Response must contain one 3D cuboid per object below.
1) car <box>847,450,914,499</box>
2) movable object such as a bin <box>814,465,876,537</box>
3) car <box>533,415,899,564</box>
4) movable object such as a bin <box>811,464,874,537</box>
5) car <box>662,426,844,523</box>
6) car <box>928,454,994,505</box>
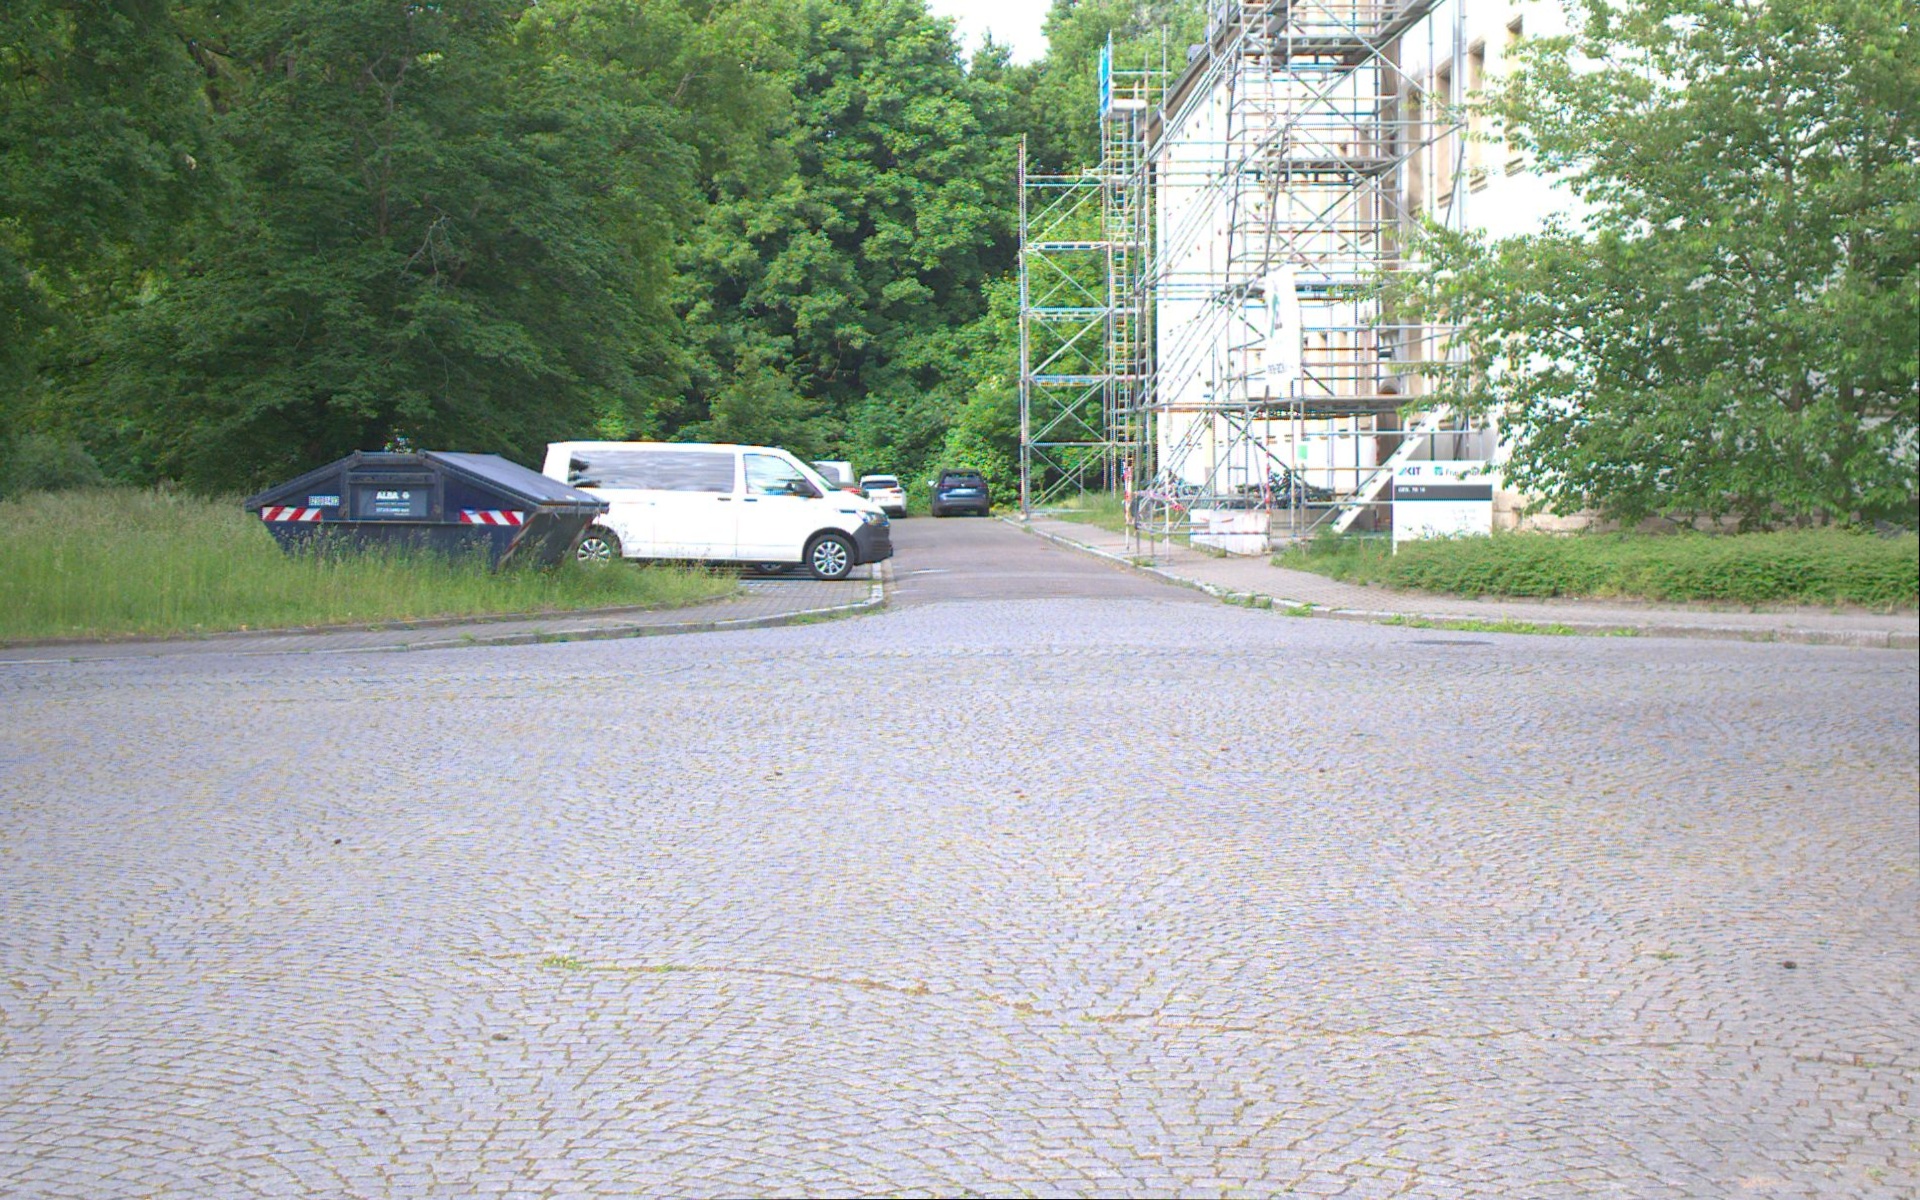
[{"bbox_3d":[-2.712,-4.222,116.324,2.001,1.542,3.959,2,1,-4],"label":"car"},{"bbox_3d":[-2.340,-2.021,70.102,1.183,1.402,0.975,2,1,-1],"label":"movable object such as a bin"},{"bbox_3d":[-3.531,-1.607,50.370,5.200,2.053,2.188,1,2,-2],"label":"car"},{"bbox_3d":[-2.344,-1.987,68.892,1.183,1.402,0.975,2,1,-1],"label":"movable object such as a bin"},{"bbox_3d":[-4.702,-2.822,77.858,3.986,2.007,1.922,2,1,-5],"label":"car"},{"bbox_3d":[0.057,-4.065,116.585,2.063,1.588,4.000,2,1,1],"label":"car"}]
